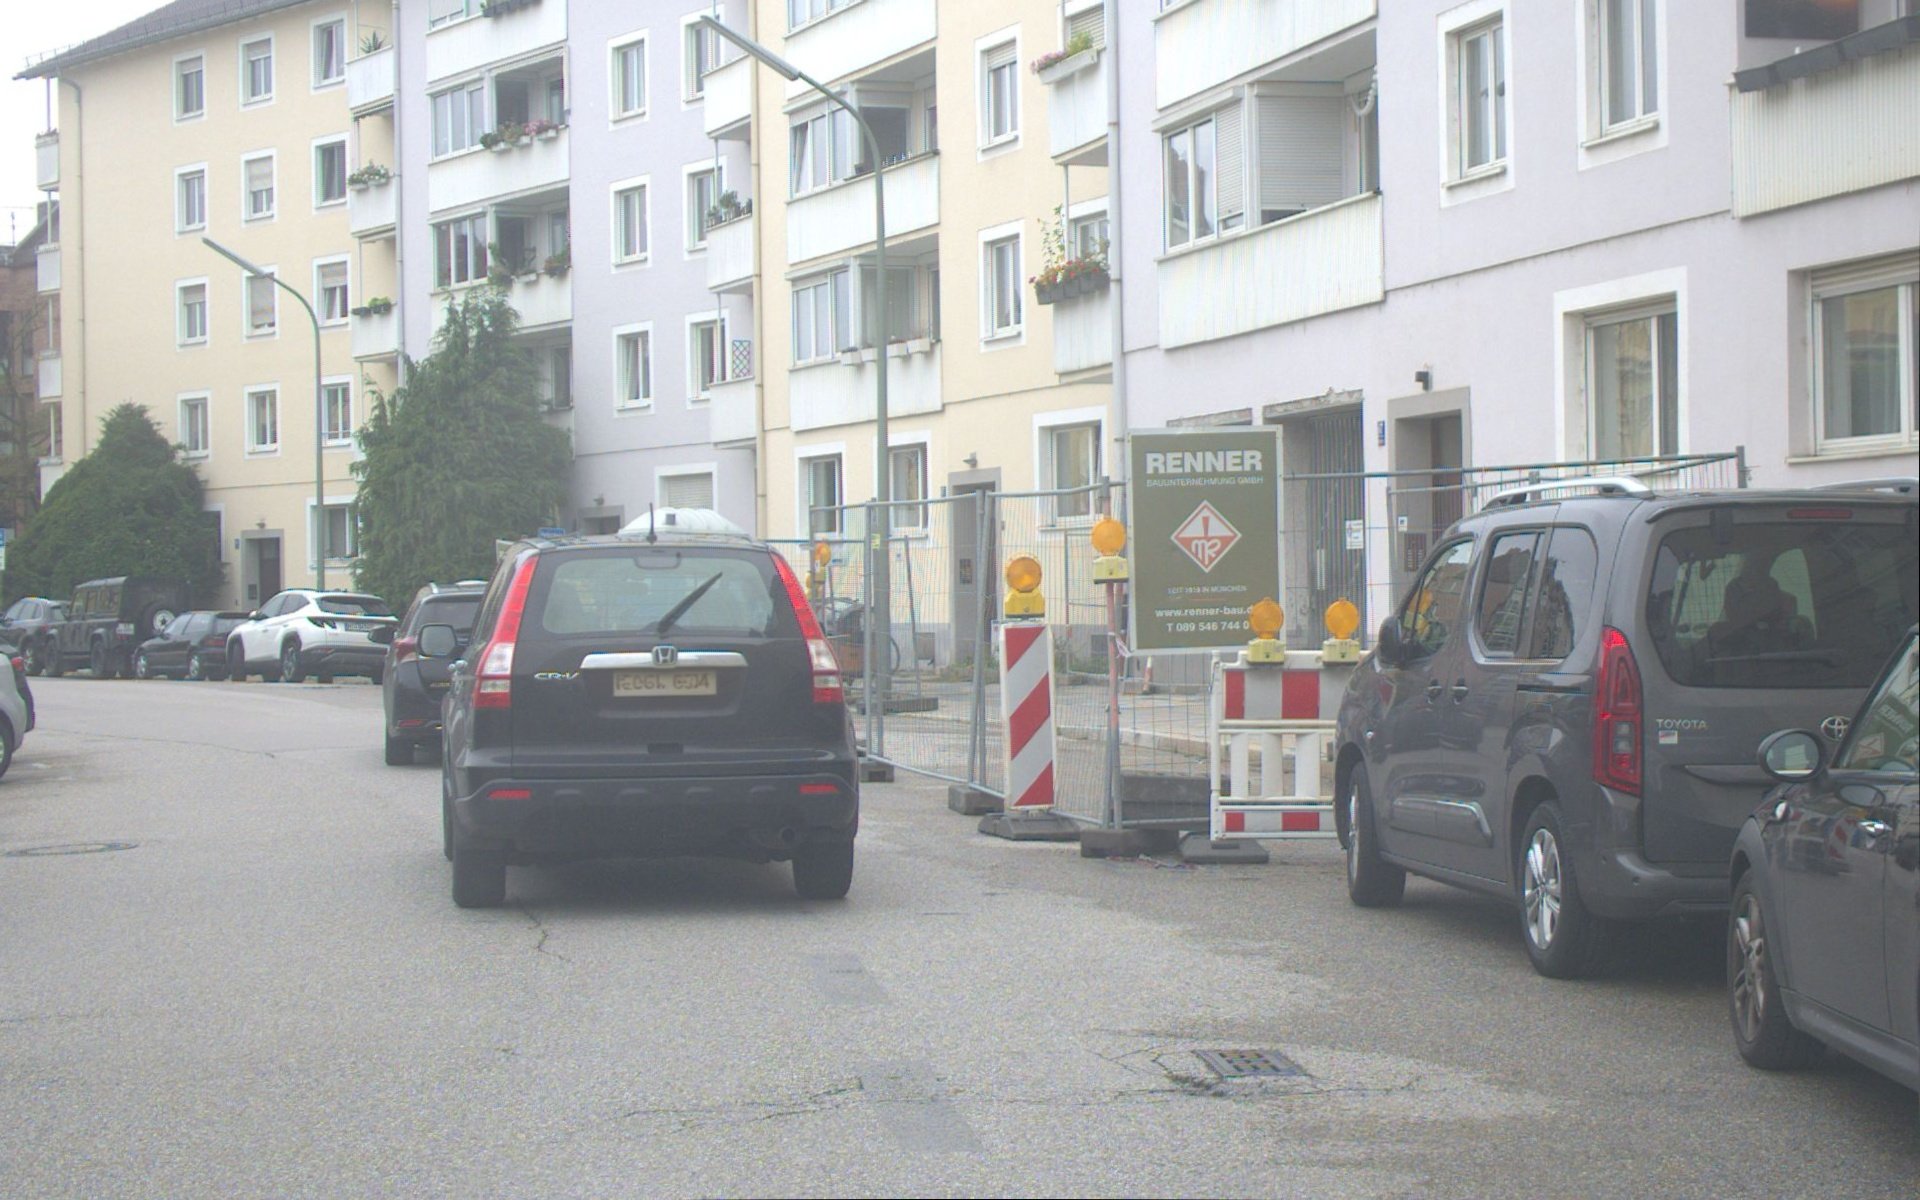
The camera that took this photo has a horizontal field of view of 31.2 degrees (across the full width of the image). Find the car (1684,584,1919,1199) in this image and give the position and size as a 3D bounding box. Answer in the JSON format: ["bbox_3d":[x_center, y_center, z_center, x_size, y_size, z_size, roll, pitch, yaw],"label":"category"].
[{"bbox_3d":[3.094,0.693,9.000,1.708,1.442,3.829,1,0,2],"label":"car"}]

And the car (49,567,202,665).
[{"bbox_3d":[-16.473,0.279,67.766,1.724,1.871,4.000,0,1,-33],"label":"car"}]

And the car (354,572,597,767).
[{"bbox_3d":[-4.079,0.524,28.485,1.678,1.476,4.087,-1,0,-12],"label":"car"}]

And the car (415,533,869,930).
[{"bbox_3d":[-1.596,0.538,16.455,1.890,1.642,3.992,-1,0,-8],"label":"car"}]

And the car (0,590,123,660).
[{"bbox_3d":[-18.852,0.495,71.577,1.697,1.384,3.602,0,1,-33],"label":"car"}]

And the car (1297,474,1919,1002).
[{"bbox_3d":[2.728,0.463,13.974,1.777,1.800,4.277,1,0,-7],"label":"car"}]

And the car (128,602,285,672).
[{"bbox_3d":[-14.029,0.669,63.903,1.697,1.232,3.602,0,1,-33],"label":"car"}]

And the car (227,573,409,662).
[{"bbox_3d":[-11.170,0.271,59.638,1.724,1.478,4.000,0,1,-33],"label":"car"}]

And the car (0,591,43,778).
[{"bbox_3d":[-9.431,0.826,26.800,1.683,1.476,4.077,-5,0,41],"label":"car"}]

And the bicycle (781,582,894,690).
[{"bbox_3d":[-1.656,0.458,45.845,0.968,1.384,2.564,0,0,-14],"label":"bicycle"}]
